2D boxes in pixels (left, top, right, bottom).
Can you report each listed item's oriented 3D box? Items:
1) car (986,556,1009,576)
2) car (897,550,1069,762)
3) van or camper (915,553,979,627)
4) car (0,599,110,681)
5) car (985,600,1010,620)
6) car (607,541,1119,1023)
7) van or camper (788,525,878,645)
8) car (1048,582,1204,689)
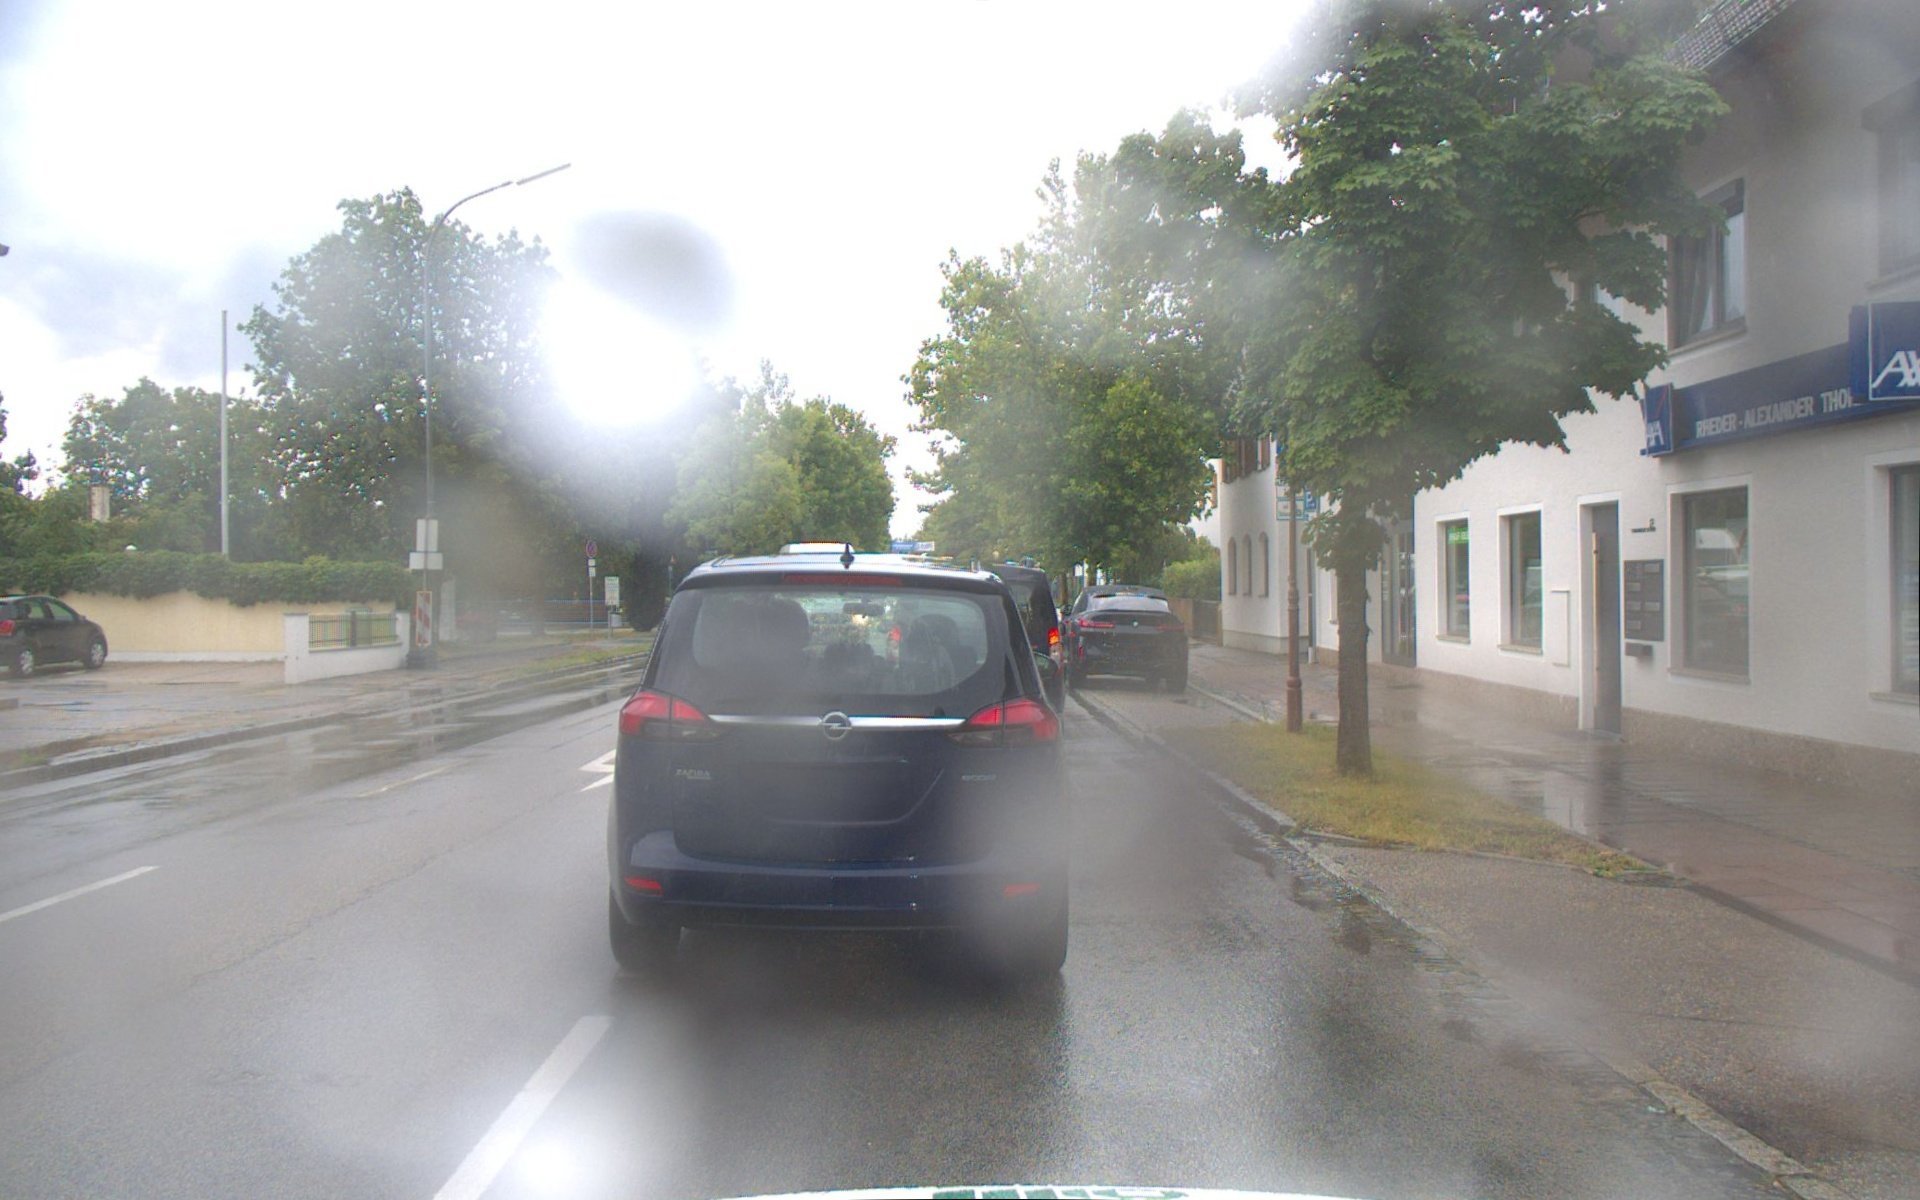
[{"bbox_3d":[2.822,-2.551,125.309,1.597,1.402,3.622,-2,0,-1],"label":"car"},{"bbox_3d":[0.184,0.478,15.838,1.470,1.807,3.111,1,0,-1],"label":"car"},{"bbox_3d":[-0.509,-0.390,64.345,2.312,2.712,5.371,-1,0,-1],"label":"van or camper"},{"bbox_3d":[-17.291,0.714,30.332,1.574,1.404,3.508,-2,0,-1],"label":"car"},{"bbox_3d":[2.591,0.716,115.998,1.597,1.402,3.622,1,0,-1],"label":"car"},{"bbox_3d":[-0.347,0.618,7.488,1.733,1.632,3.663,1,0,-1],"label":"car"},{"bbox_3d":[-3.205,-0.365,41.580,2.053,2.754,6.262,-1,0,-5],"label":"van or camper"},{"bbox_3d":[2.649,0.544,27.260,2.074,1.609,3.934,1,0,-1],"label":"car"}]
